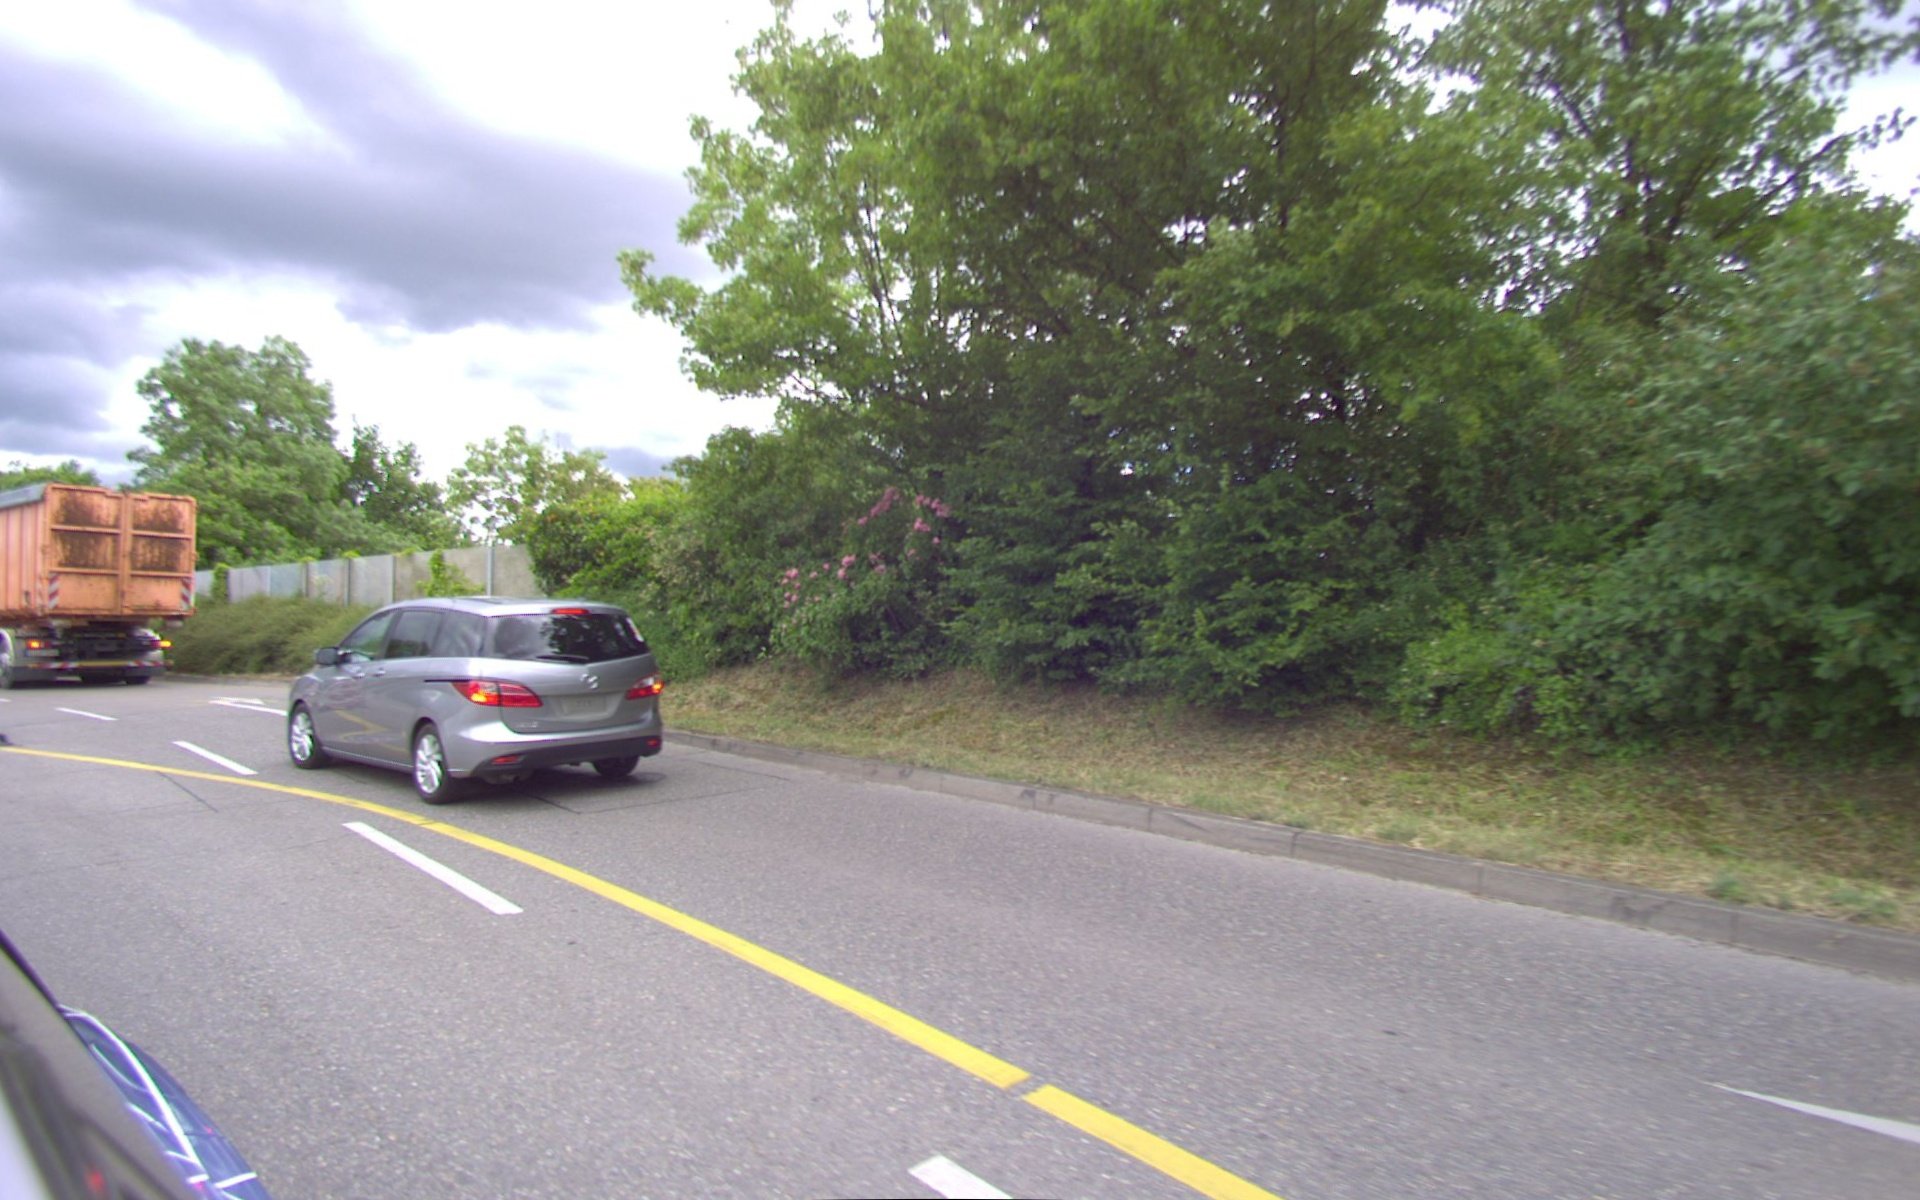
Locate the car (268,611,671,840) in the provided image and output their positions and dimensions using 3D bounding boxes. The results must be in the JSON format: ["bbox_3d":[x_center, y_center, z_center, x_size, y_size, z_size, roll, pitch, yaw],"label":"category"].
[{"bbox_3d":[-4.509,0.887,8.972,4.348,1.556,1.616,-1,0,41],"label":"car"}]

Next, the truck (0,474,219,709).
[{"bbox_3d":[-20.294,-0.063,22.268,9.762,4.253,3.086,-1,-2,33],"label":"truck"}]
